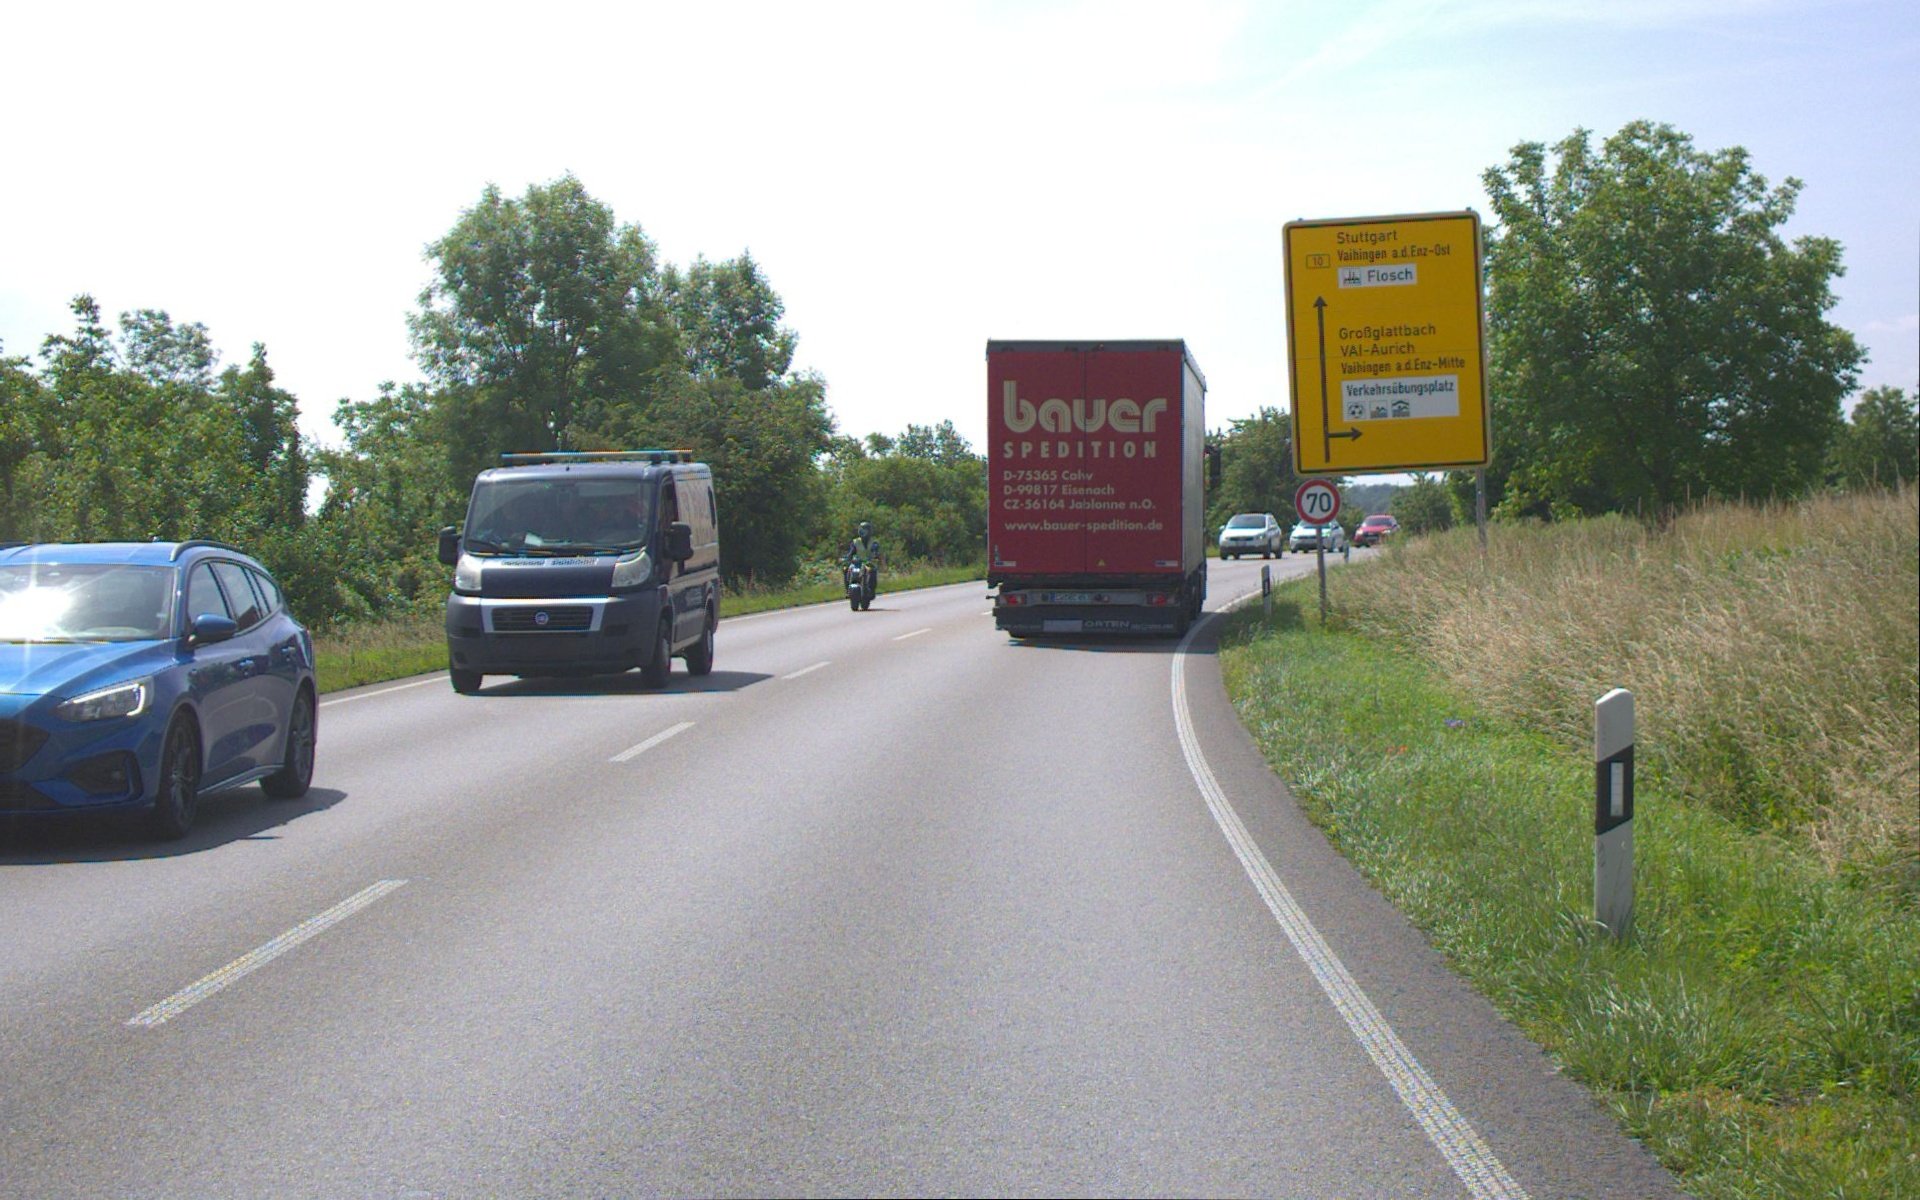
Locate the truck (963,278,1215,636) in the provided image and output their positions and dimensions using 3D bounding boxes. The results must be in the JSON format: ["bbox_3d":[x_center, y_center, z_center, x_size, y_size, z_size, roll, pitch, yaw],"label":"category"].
[{"bbox_3d":[2.018,-1.911,49.822,3.112,4.490,12.166,1,1,4],"label":"truck"}]

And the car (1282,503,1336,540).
[{"bbox_3d":[14.225,-3.194,139.937,1.751,1.409,3.771,-1,2,13],"label":"car"}]

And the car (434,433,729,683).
[{"bbox_3d":[-3.653,-0.440,34.149,2.171,2.295,4.907,0,1,2],"label":"car"}]

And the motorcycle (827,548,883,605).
[{"bbox_3d":[-1.882,-0.433,61.872,0.757,0.991,2.279,0,1,5],"label":"motorcycle"}]

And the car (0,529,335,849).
[{"bbox_3d":[-4.663,0.378,18.163,1.863,1.480,4.359,-1,1,1],"label":"car"}]

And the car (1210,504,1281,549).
[{"bbox_3d":[10.365,-2.656,124.584,1.834,1.611,4.359,0,1,15],"label":"car"}]

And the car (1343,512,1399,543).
[{"bbox_3d":[18.552,-3.271,155.099,1.822,1.393,4.179,0,1,17],"label":"car"}]

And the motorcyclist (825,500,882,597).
[{"bbox_3d":[-1.911,-0.932,61.831,0.918,1.712,0.962,-1,1,4],"label":"motorcyclist"}]
